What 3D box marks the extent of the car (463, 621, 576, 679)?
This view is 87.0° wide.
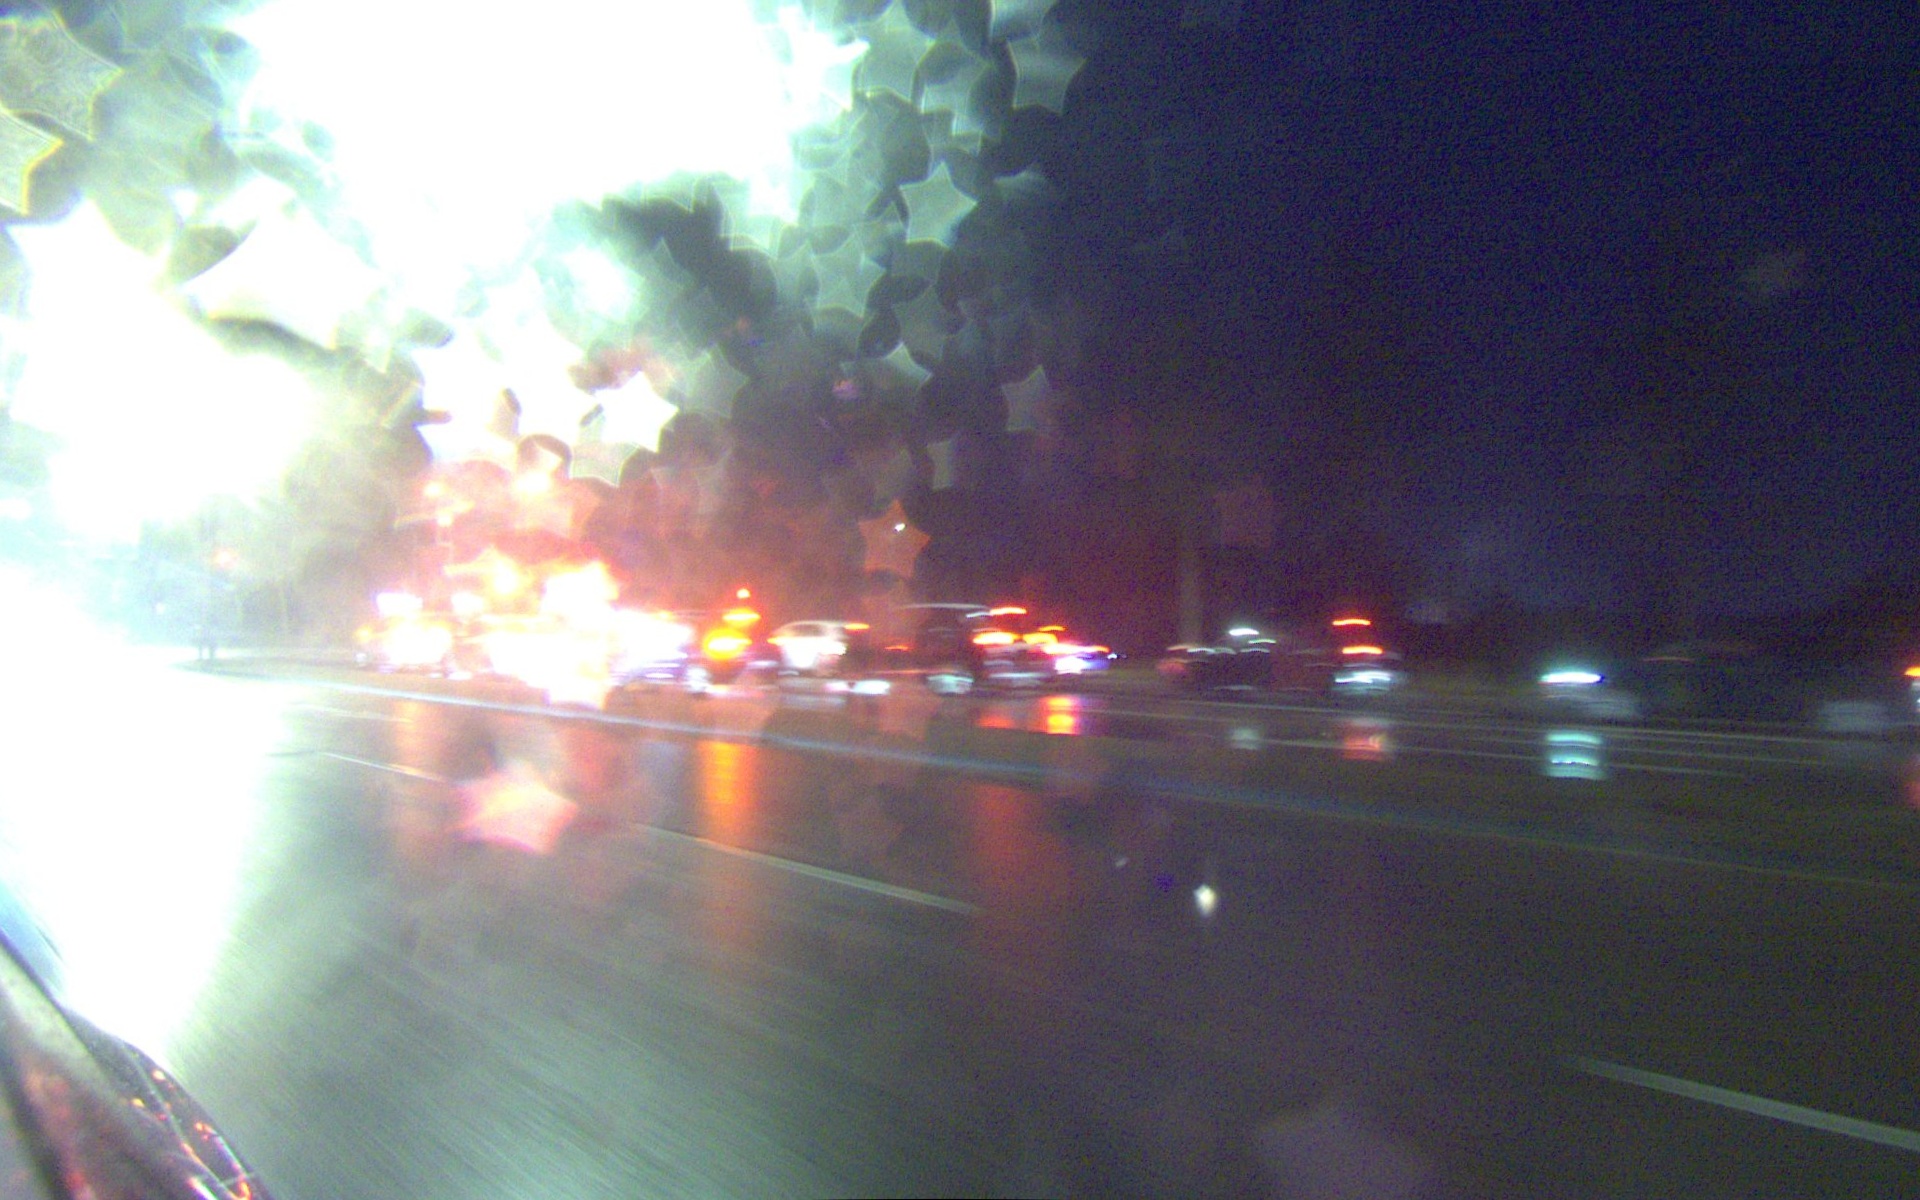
[{"bbox_3d":[-13.179,1.432,30.163,4.060,1.498,1.693,1,0,45],"label":"car"}]

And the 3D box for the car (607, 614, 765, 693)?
[{"bbox_3d":[-6.751,1.232,24.743,3.974,1.678,1.780,1,0,41],"label":"car"}]

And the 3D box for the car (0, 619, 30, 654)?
[{"bbox_3d":[-60.935,2.309,64.805,4.147,2.039,1.768,1,0,44],"label":"car"}]

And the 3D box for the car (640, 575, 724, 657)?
[{"bbox_3d":[-10.124,0.565,36.516,2.217,2.730,5.627,0,-1,-23],"label":"car"}]

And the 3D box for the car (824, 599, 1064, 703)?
[{"bbox_3d":[-0.391,0.854,19.123,4.485,1.678,1.780,1,0,41],"label":"car"}]

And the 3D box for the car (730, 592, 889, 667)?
[{"bbox_3d":[-4.008,0.758,26.582,4.247,1.813,1.780,-1,-1,41],"label":"car"}]

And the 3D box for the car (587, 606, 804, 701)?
[{"bbox_3d":[-5.051,0.954,19.079,4.302,1.590,1.794,-1,-2,40],"label":"car"}]

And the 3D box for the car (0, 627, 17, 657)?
[{"bbox_3d":[-67.648,2.940,71.192,3.610,1.953,1.689,1,0,43],"label":"car"}]

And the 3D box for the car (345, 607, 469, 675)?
[{"bbox_3d":[-15.216,1.082,27.788,3.899,1.738,1.741,-1,-1,41],"label":"car"}]

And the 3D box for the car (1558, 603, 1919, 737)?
[{"bbox_3d":[10.940,0.896,13.825,4.530,1.550,1.833,1,-3,41],"label":"car"}]

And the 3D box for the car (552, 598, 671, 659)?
[{"bbox_3d":[-11.398,0.904,32.984,4.281,1.862,1.742,-1,-1,40],"label":"car"}]

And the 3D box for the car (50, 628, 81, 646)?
[{"bbox_3d":[-88.752,3.651,100.370,4.035,1.485,1.811,2,2,41],"label":"car"}]

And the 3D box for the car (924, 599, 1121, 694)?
[{"bbox_3d":[1.305,0.935,22.324,4.122,1.862,1.741,1,0,41],"label":"car"}]

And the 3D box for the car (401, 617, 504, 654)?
[{"bbox_3d":[-25.010,1.755,49.925,1.789,1.607,4.177,-8,-6,43],"label":"car"}]

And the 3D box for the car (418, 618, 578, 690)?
[{"bbox_3d":[-10.758,1.189,23.401,4.411,1.495,1.758,-1,-1,42],"label":"car"}]

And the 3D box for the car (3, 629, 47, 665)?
[{"bbox_3d":[-54.908,2.745,59.387,4.147,1.868,1.644,1,0,44],"label":"car"}]

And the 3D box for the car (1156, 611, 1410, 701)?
[{"bbox_3d":[5.766,0.928,18.339,4.037,1.387,1.741,1,0,41],"label":"car"}]
